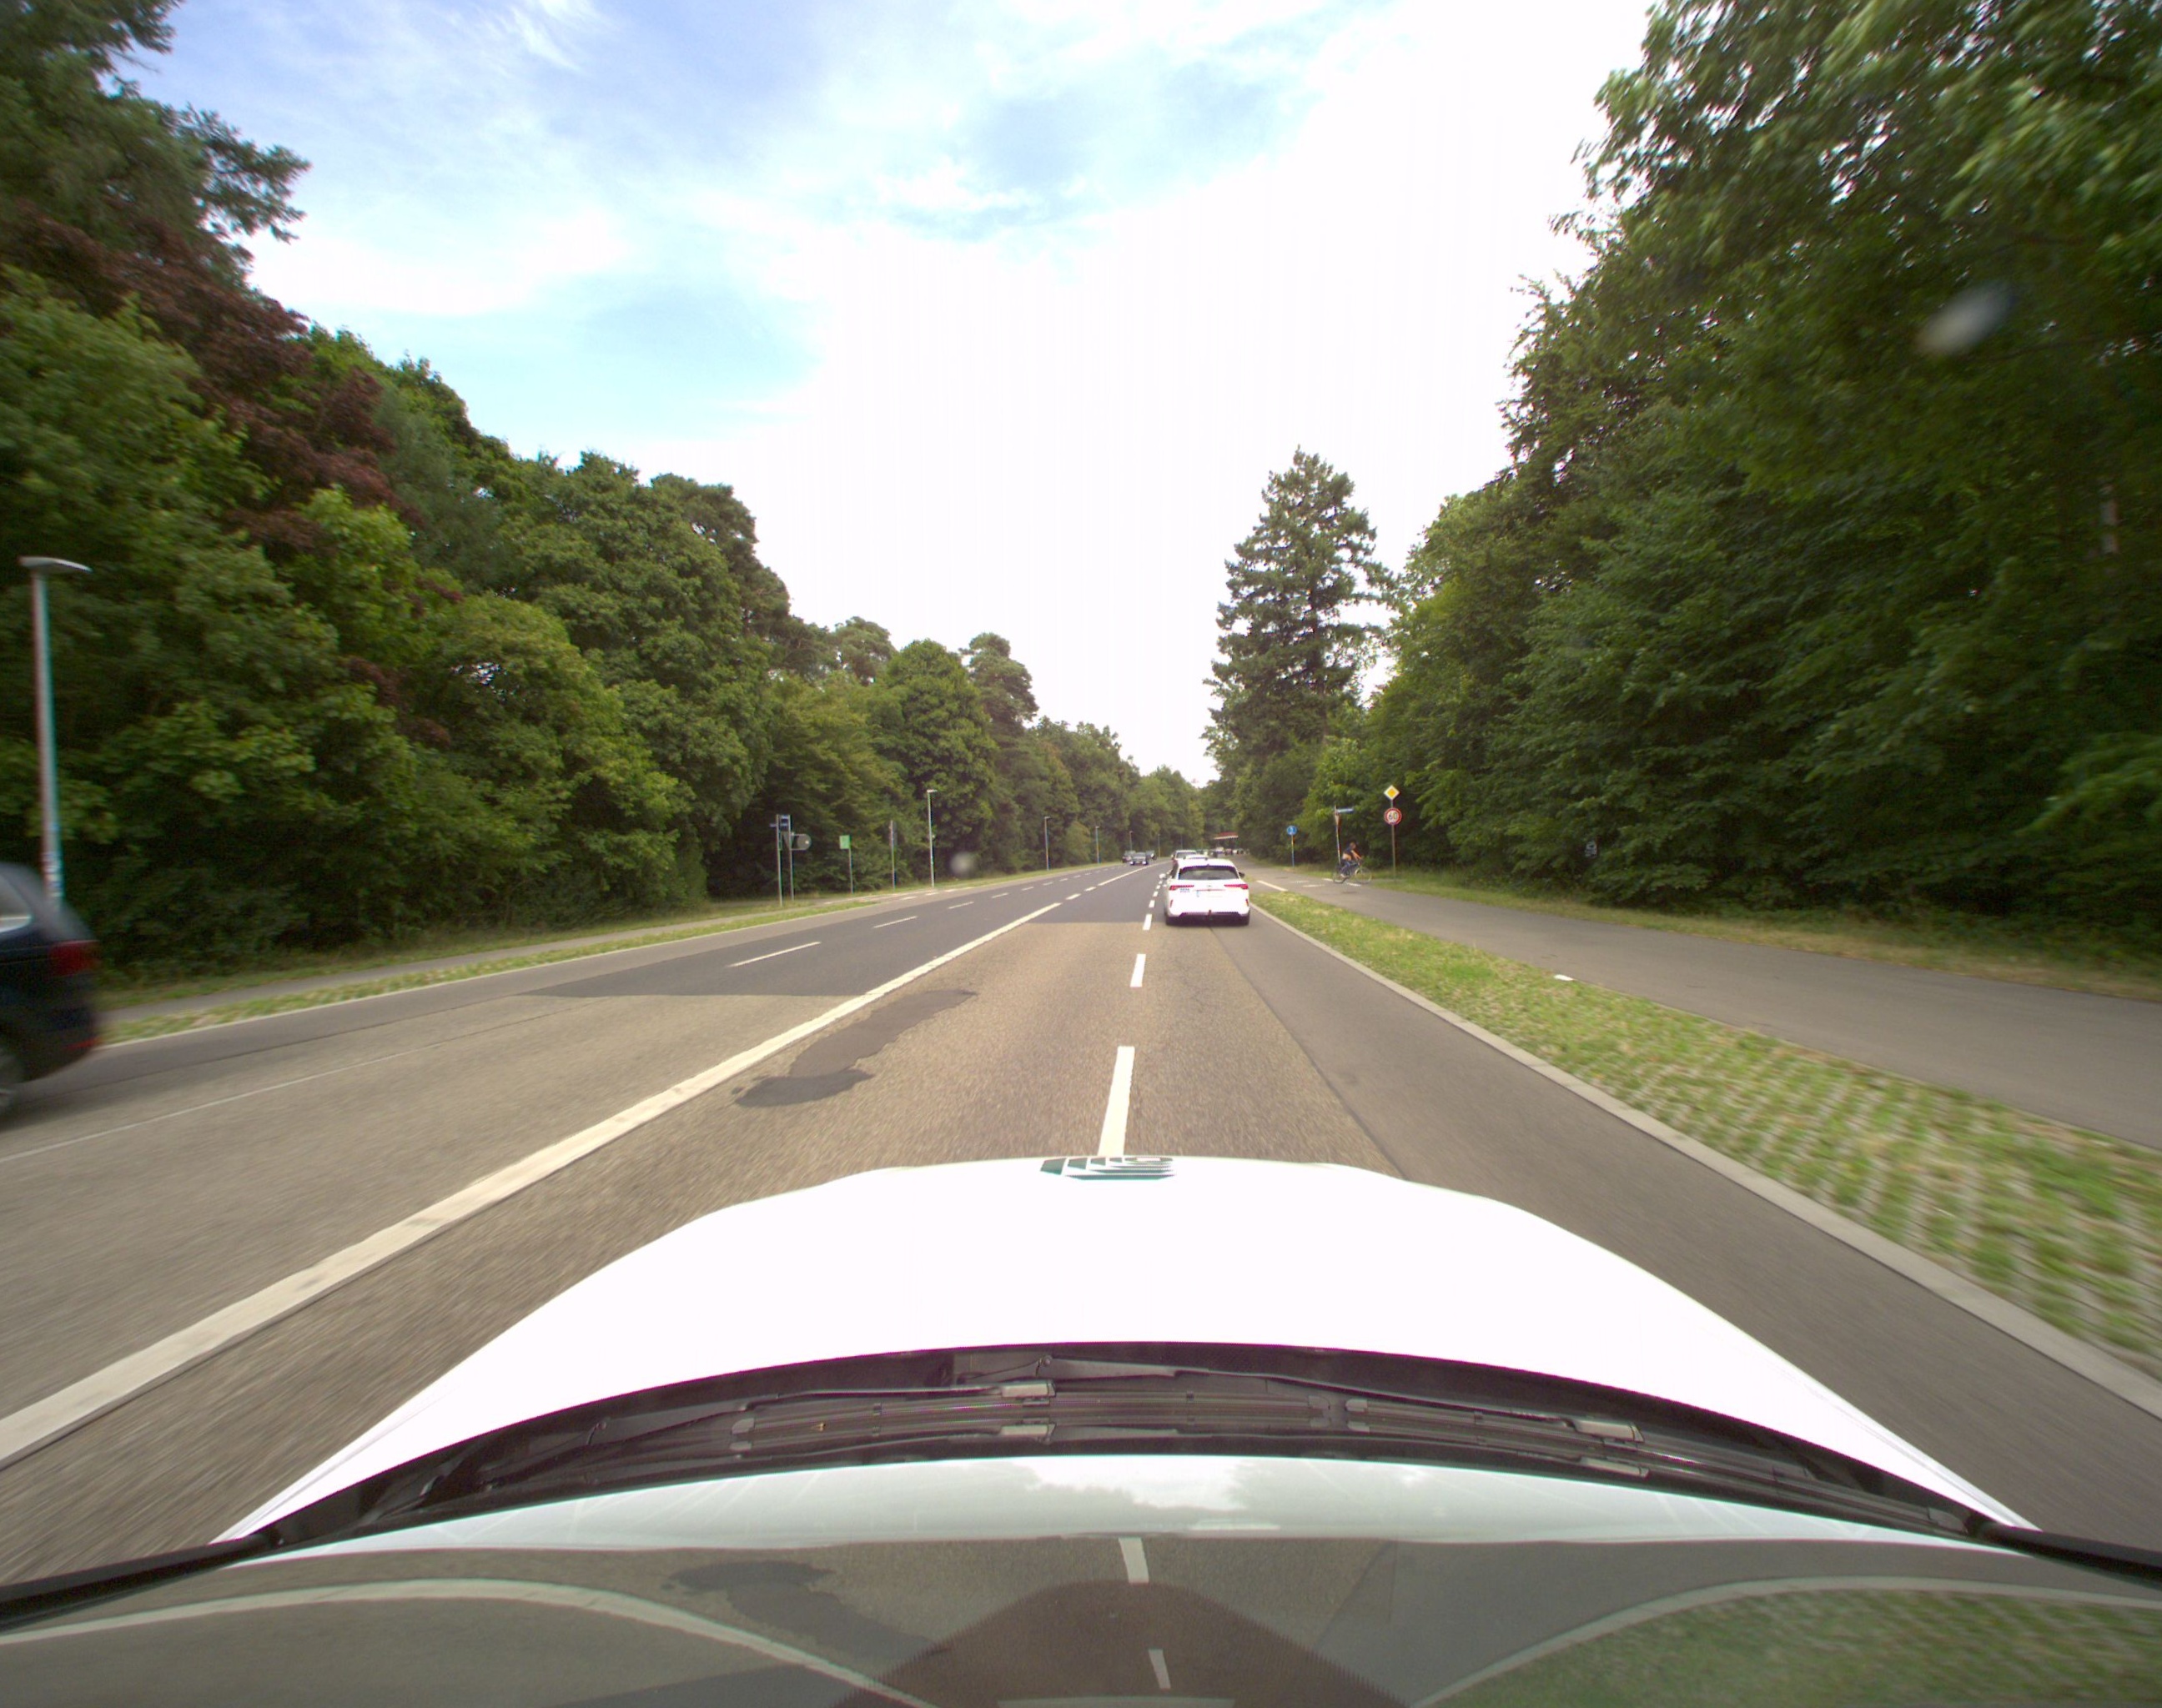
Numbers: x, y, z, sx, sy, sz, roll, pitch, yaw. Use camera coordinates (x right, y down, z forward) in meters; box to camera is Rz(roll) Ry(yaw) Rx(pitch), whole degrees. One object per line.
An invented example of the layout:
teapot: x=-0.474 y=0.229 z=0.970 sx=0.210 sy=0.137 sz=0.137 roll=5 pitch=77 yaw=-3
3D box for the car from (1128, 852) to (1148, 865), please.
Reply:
car: x=6.561 y=0.584 z=93.450 sx=1.982 sy=1.435 sz=4.731 roll=-1 pitch=-1 yaw=8

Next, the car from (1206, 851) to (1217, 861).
car: x=24.672 y=0.379 z=153.872 sx=1.980 sy=1.783 sz=4.013 roll=0 pitch=-1 yaw=12

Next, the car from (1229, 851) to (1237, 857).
car: x=46.056 y=0.044 z=247.054 sx=1.874 sy=1.816 sz=4.017 roll=0 pitch=-1 yaw=16

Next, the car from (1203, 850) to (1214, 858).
car: x=28.027 y=0.037 z=179.158 sx=1.979 sy=1.783 sz=4.016 roll=0 pitch=-1 yaw=15

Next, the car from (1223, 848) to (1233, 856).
car: x=36.450 y=-0.543 z=201.800 sx=1.979 sy=1.783 sz=4.015 roll=0 pitch=-1 yaw=14

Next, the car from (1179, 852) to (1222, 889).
car: x=4.860 y=0.653 z=33.469 sx=1.627 sy=1.420 sz=4.007 roll=0 pitch=-1 yaw=7

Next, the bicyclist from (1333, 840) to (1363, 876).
bicyclist: x=10.957 y=0.172 z=33.453 sx=0.713 sy=1.470 sz=0.893 roll=-1 pitch=-1 yaw=-29

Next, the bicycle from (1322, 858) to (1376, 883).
bicycle: x=10.977 y=0.668 z=33.460 sx=0.713 sy=0.994 sz=2.160 roll=-1 pitch=0 yaw=-29

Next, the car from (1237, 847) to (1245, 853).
car: x=45.613 y=-1.201 z=231.524 sx=1.979 sy=1.706 sz=4.016 roll=-2 pitch=0 yaw=14

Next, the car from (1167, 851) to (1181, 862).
car: x=13.308 y=0.345 z=116.671 sx=1.718 sy=1.587 sz=4.012 roll=0 pitch=-1 yaw=11

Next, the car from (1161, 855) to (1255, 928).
car: x=2.758 y=0.760 z=18.546 sx=1.827 sy=1.410 sz=4.497 roll=-2 pitch=0 yaw=5

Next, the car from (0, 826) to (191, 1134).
car: x=-7.430 y=0.756 z=3.383 sx=1.984 sy=1.791 sz=4.754 roll=-3 pitch=-1 yaw=5

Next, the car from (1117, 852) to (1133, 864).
car: x=6.112 y=0.560 z=112.367 sx=1.912 sy=1.655 sz=4.479 roll=-1 pitch=-1 yaw=8

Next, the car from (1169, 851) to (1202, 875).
car: x=7.128 y=0.613 z=55.188 sx=1.981 sy=1.607 sz=4.011 roll=0 pitch=-1 yaw=10

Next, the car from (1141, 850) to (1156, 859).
car: x=11.691 y=0.107 z=140.035 sx=1.980 sy=1.617 sz=4.679 roll=0 pitch=-1 yaw=12

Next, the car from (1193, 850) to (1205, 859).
car: x=23.504 y=0.095 z=162.139 sx=1.980 sy=1.783 sz=4.013 roll=0 pitch=-1 yaw=13
